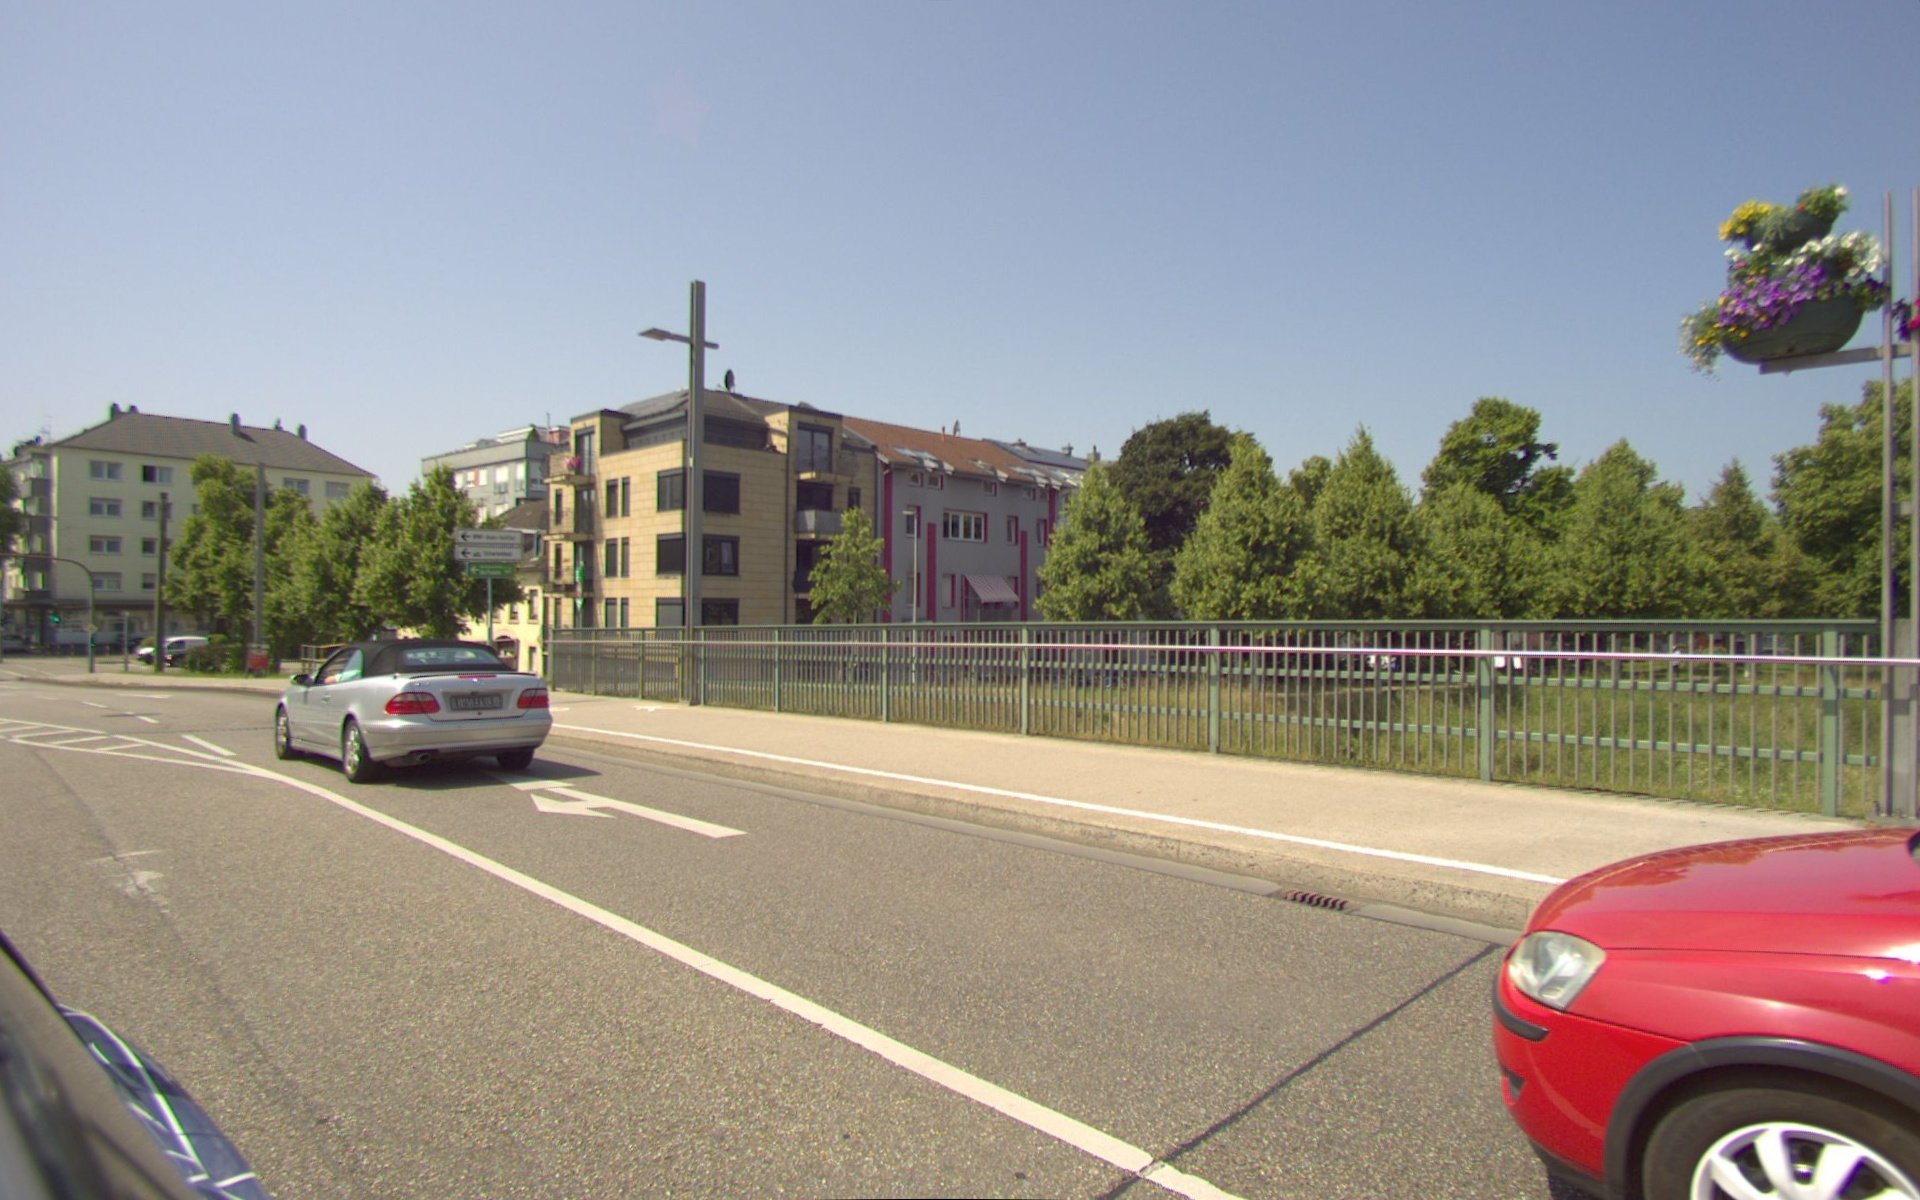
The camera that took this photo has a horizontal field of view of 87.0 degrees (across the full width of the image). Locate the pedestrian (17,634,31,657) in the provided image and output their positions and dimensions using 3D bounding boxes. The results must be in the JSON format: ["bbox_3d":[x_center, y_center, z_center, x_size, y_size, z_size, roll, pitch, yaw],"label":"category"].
[{"bbox_3d":[-72.496,3.519,78.375,0.741,1.773,0.621,-1,-2,37],"label":"pedestrian"}]

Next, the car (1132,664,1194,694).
[{"bbox_3d":[12.604,4.850,62.647,2.000,1.662,3.944,-2,-2,42],"label":"car"}]

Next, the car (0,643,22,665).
[{"bbox_3d":[-71.455,3.989,75.439,3.933,1.470,1.568,0,-1,37],"label":"car"}]

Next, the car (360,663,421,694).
[{"bbox_3d":[-31.156,4.267,55.287,4.431,1.443,1.756,-2,-1,45],"label":"car"}]

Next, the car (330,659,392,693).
[{"bbox_3d":[-34.976,4.399,59.030,5.288,1.641,1.794,0,-3,45],"label":"car"}]

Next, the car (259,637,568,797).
[{"bbox_3d":[-6.014,1.099,10.875,4.458,1.369,1.679,-2,-4,45],"label":"car"}]

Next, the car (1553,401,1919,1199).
[{"bbox_3d":[3.388,0.579,1.350,1.716,1.790,4.180,5,-4,-44],"label":"car"}]

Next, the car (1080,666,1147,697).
[{"bbox_3d":[8.843,4.659,58.170,2.000,1.662,3.943,-2,-4,42],"label":"car"}]

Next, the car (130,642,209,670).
[{"bbox_3d":[-51.824,3.666,66.374,1.890,1.748,3.653,0,-3,35],"label":"car"}]

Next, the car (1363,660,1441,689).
[{"bbox_3d":[27.318,4.574,62.572,3.998,1.662,1.973,-2,-4,41],"label":"car"}]
